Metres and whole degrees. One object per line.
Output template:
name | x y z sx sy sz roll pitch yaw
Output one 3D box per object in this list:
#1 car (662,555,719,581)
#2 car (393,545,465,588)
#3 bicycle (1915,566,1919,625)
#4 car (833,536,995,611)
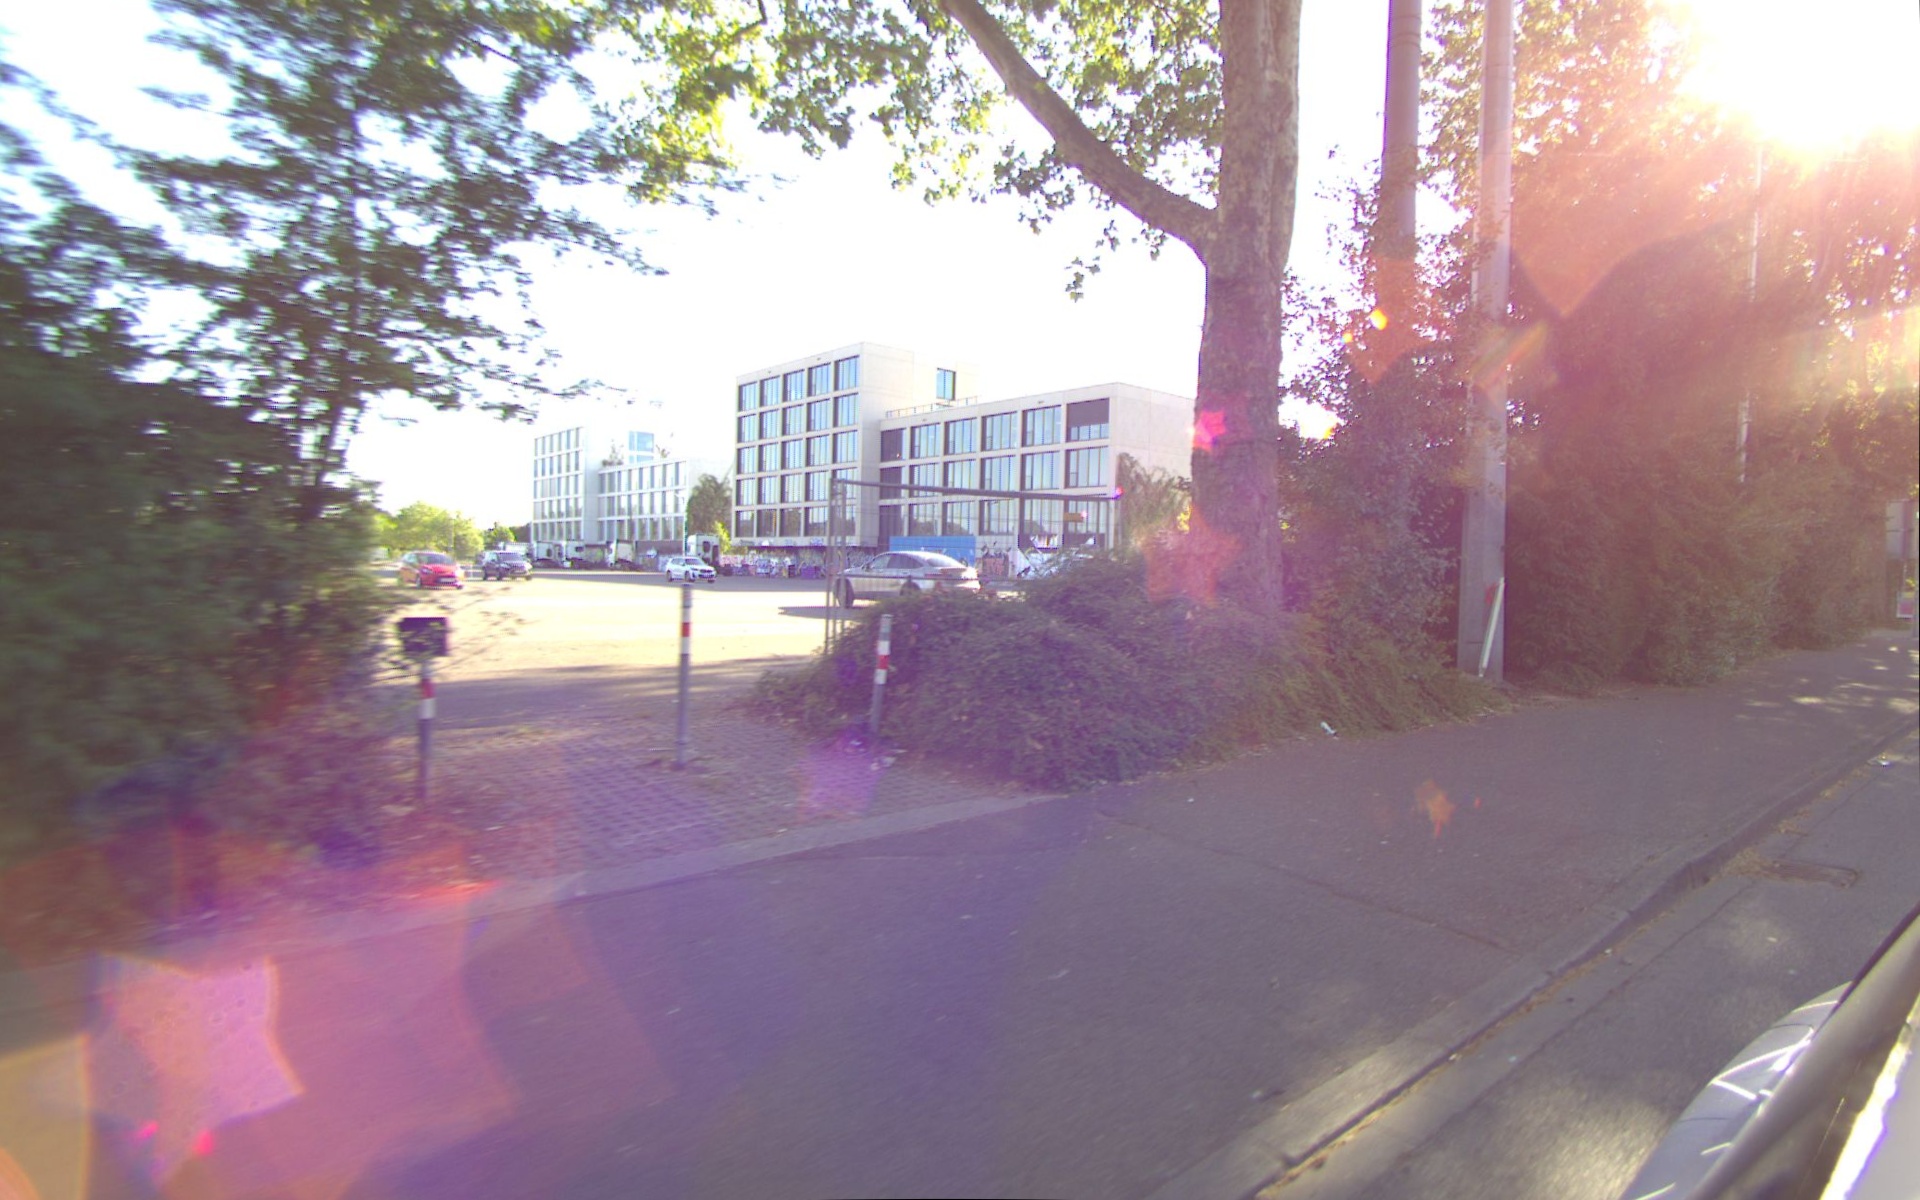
car | -17.236 -2.071 64.586 1.698 1.544 4.254 0 2 -43
car | -21.416 -1.373 40.754 1.622 1.621 3.820 0 2 -42
bicycle | 28.994 -0.092 29.243 1.967 1.738 0.582 3 2 44
car | -1.307 -0.751 27.210 1.967 1.838 4.357 0 2 -44
